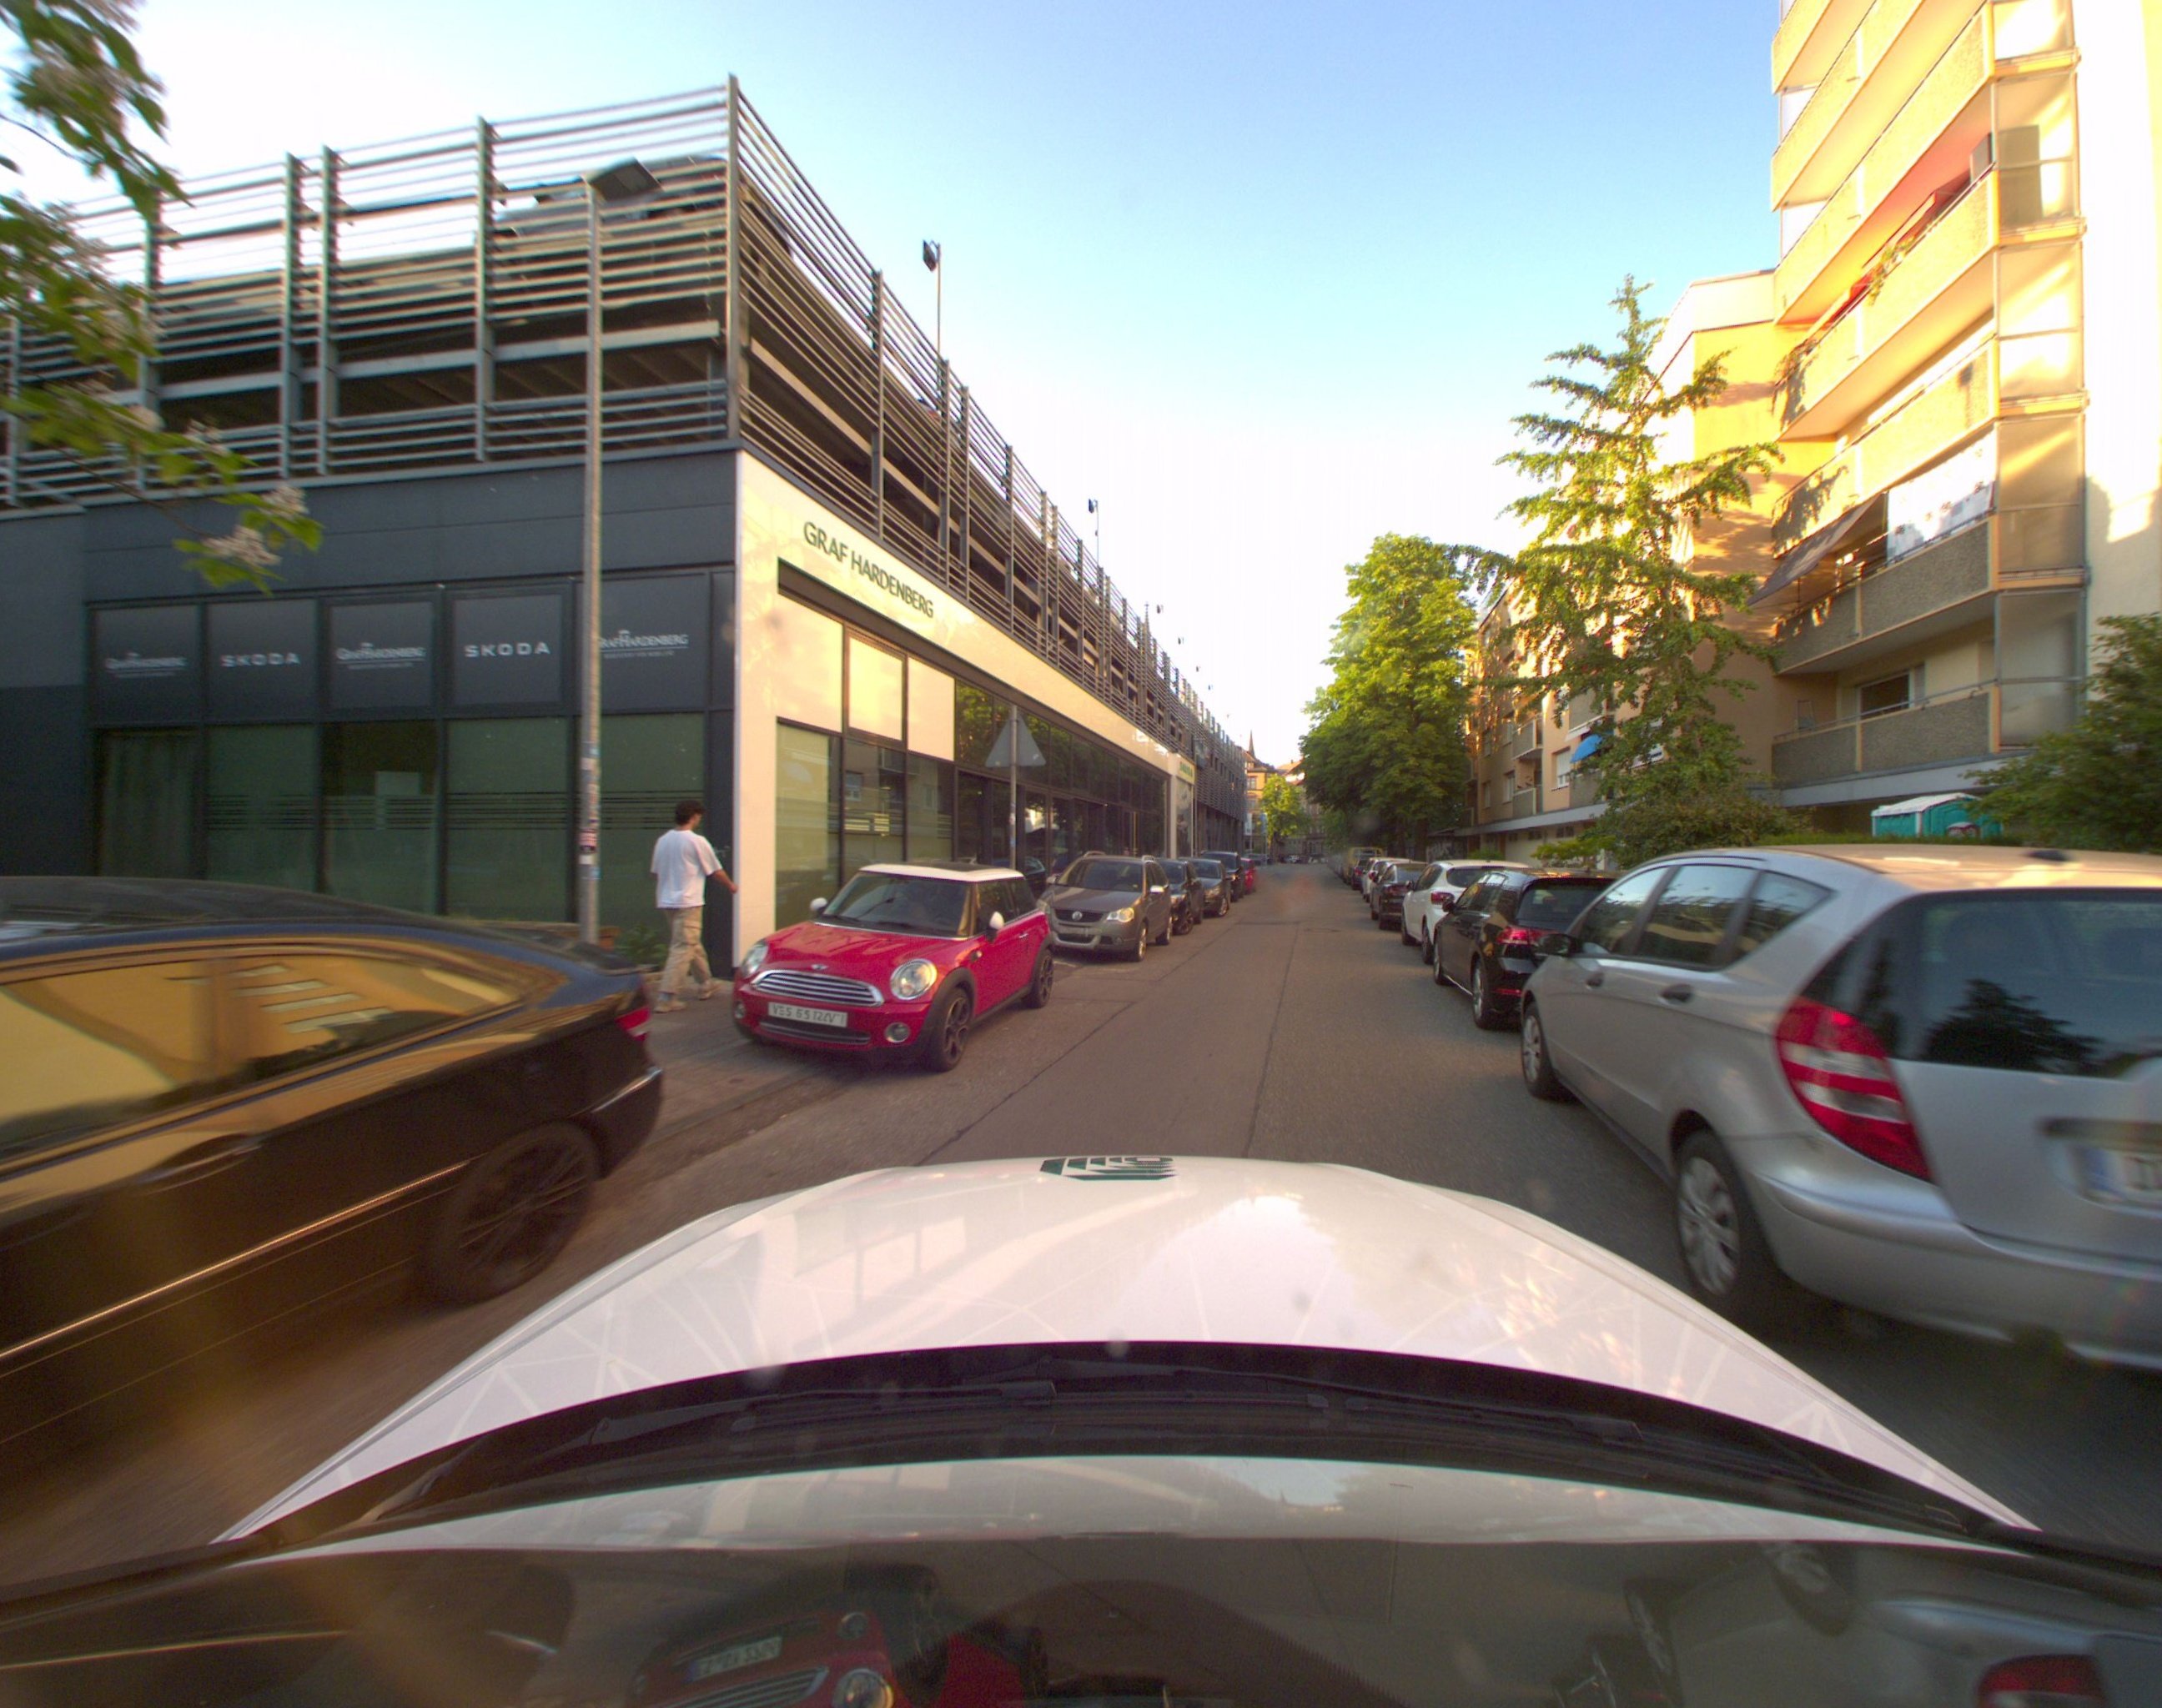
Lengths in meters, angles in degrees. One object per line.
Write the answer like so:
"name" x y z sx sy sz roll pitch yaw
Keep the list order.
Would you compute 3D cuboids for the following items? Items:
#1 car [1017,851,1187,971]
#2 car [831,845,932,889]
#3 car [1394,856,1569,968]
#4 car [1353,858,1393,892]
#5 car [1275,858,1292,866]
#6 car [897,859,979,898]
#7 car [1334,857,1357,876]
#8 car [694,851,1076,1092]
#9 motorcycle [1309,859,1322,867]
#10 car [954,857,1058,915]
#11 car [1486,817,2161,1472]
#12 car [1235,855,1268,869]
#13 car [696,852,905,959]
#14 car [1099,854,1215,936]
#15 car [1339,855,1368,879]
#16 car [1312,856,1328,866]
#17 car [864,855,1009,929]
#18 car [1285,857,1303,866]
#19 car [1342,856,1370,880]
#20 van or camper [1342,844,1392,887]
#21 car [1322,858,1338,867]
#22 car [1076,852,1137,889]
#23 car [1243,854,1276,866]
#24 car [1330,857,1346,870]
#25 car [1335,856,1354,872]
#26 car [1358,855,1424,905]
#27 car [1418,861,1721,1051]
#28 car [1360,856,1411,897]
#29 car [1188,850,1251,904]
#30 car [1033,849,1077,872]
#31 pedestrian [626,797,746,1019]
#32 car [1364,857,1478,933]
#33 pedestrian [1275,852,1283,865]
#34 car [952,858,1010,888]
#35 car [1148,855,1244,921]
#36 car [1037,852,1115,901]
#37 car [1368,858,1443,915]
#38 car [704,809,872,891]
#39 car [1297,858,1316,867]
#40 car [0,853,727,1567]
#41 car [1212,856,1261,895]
"car" 0.508 0.775 13.194 1.649 1.497 3.902 5 2 17
"car" -6.851 0.422 28.390 1.684 1.434 3.936 0 0 16
"car" 5.965 0.760 12.590 1.796 1.416 3.913 0 0 16
"car" 13.383 0.924 37.452 1.594 1.381 4.019 0 1 18
"car" 35.948 1.437 144.533 1.653 1.431 3.886 0 1 -8
"car" -5.660 0.941 32.672 1.684 1.434 3.936 0 0 16
"car" 21.913 1.033 67.545 1.746 1.442 4.023 0 1 16
"car" -1.357 0.748 7.328 1.650 1.410 3.941 5 1 13
"motorcycle" 37.800 1.430 131.271 1.922 1.340 0.578 0 0 6
"car" -2.113 0.878 24.131 1.684 1.514 4.011 0 0 16
"car" 3.272 0.690 3.800 1.796 1.575 3.901 0 0 16
"car" 22.503 1.048 107.612 4.100 1.618 1.921 2 1 14
"car" -4.834 0.793 14.650 1.581 1.650 3.893 0 0 16
"car" 1.763 0.776 17.640 1.716 1.402 4.023 5 2 15
"car" 19.268 0.893 57.676 1.709 1.519 4.043 0 1 16
"car" 41.820 1.178 142.493 1.673 1.782 3.007 0 0 -8
"car" -3.262 0.811 19.285 1.684 1.514 4.210 0 0 16
"car" 36.483 1.259 139.730 1.652 1.431 4.159 0 1 -6
"car" 17.843 0.878 52.900 1.551 1.450 3.468 0 1 16
"van or camper" 14.877 0.545 42.588 2.049 2.096 5.111 0 1 15
"car" 42.361 1.413 138.644 1.673 1.525 2.759 0 0 -8
"car" 1.150 0.677 34.843 1.684 1.473 3.797 0 0 16
"car" 27.560 0.942 125.790 4.799 1.732 1.926 1 1 10
"car" 29.799 1.127 94.426 1.682 1.477 4.134 0 0 16
"car" 26.804 1.023 82.983 1.746 1.604 3.890 0 0 16
"car" 10.591 0.817 28.051 1.778 1.562 4.211 0 0 16
"car" 4.669 0.806 8.454 1.704 1.419 4.045 0 0 16
"car" 12.104 0.845 32.526 1.597 1.510 3.492 0 0 16
"car" 4.980 0.758 28.809 1.684 1.756 4.422 0 0 16
"car" -1.453 0.340 46.754 1.409 1.255 3.542 0 1 17
"pedestrian" -3.521 0.451 7.289 0.715 1.878 0.623 0 0 17
"car" 7.411 0.808 18.158 1.796 1.416 4.645 0 0 16
"pedestrian" 27.276 0.640 112.370 0.734 1.804 1.120 0 0 -4
"car" -4.497 0.825 37.109 1.409 1.255 3.228 0 1 17
"car" 3.279 0.843 22.543 1.922 1.596 4.224 0 1 18
"car" -0.098 0.773 30.166 1.684 1.658 4.428 0 0 16
"car" 9.254 0.856 23.482 1.597 1.461 4.071 0 0 16
"car" -6.484 -0.076 18.458 1.684 1.658 3.754 0 0 16
"car" 37.425 1.377 135.030 1.653 1.431 3.980 0 1 -7
"car" -3.115 0.784 1.944 1.650 1.415 4.432 5 2 15
"car" 6.578 0.872 34.159 1.684 1.506 3.807 0 0 16
